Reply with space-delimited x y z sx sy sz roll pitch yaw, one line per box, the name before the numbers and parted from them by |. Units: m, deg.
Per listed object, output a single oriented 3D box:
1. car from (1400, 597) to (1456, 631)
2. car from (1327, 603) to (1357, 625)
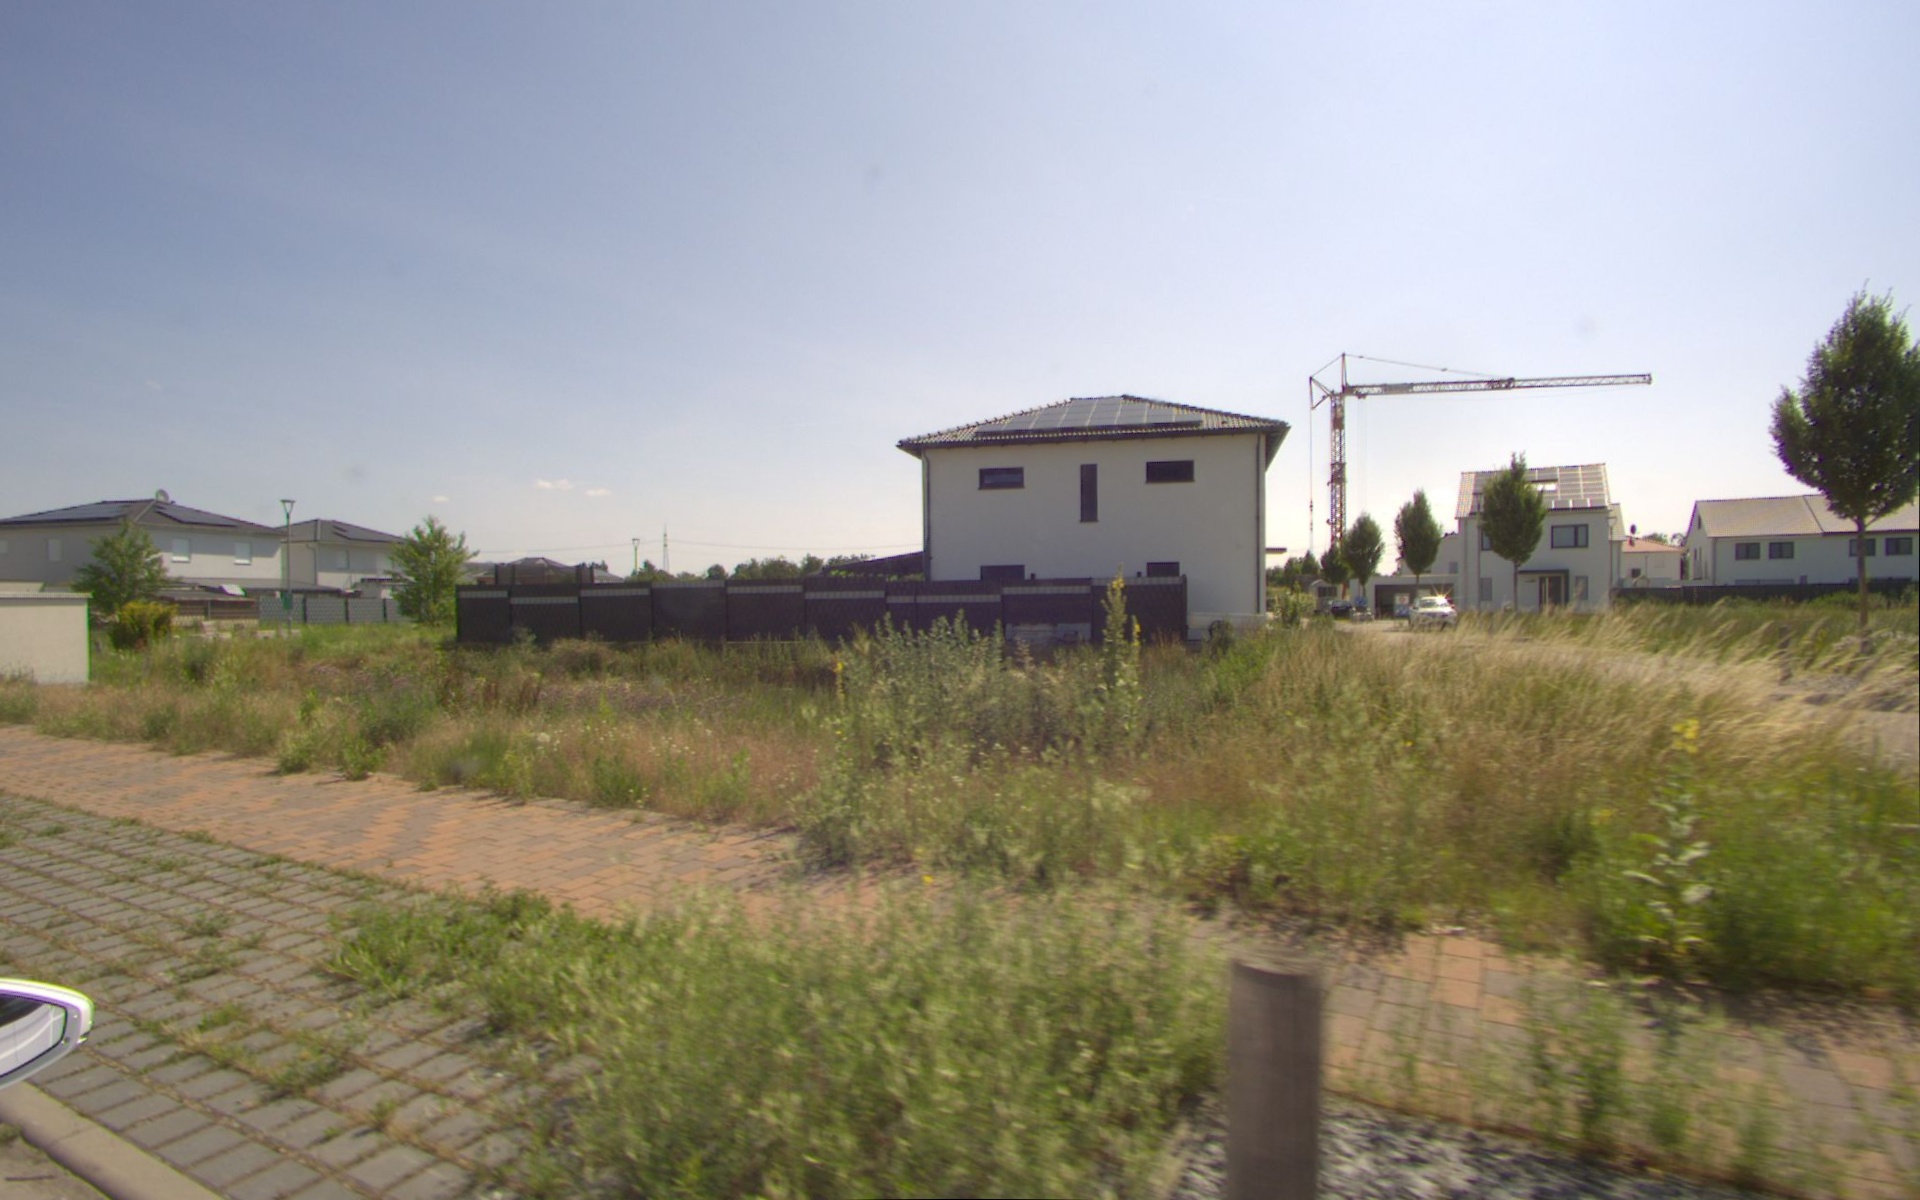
car | 20.704 0.602 44.387 1.711 1.461 3.825 0 0 17
car | 27.194 0.980 71.309 1.711 1.461 3.825 0 0 17
